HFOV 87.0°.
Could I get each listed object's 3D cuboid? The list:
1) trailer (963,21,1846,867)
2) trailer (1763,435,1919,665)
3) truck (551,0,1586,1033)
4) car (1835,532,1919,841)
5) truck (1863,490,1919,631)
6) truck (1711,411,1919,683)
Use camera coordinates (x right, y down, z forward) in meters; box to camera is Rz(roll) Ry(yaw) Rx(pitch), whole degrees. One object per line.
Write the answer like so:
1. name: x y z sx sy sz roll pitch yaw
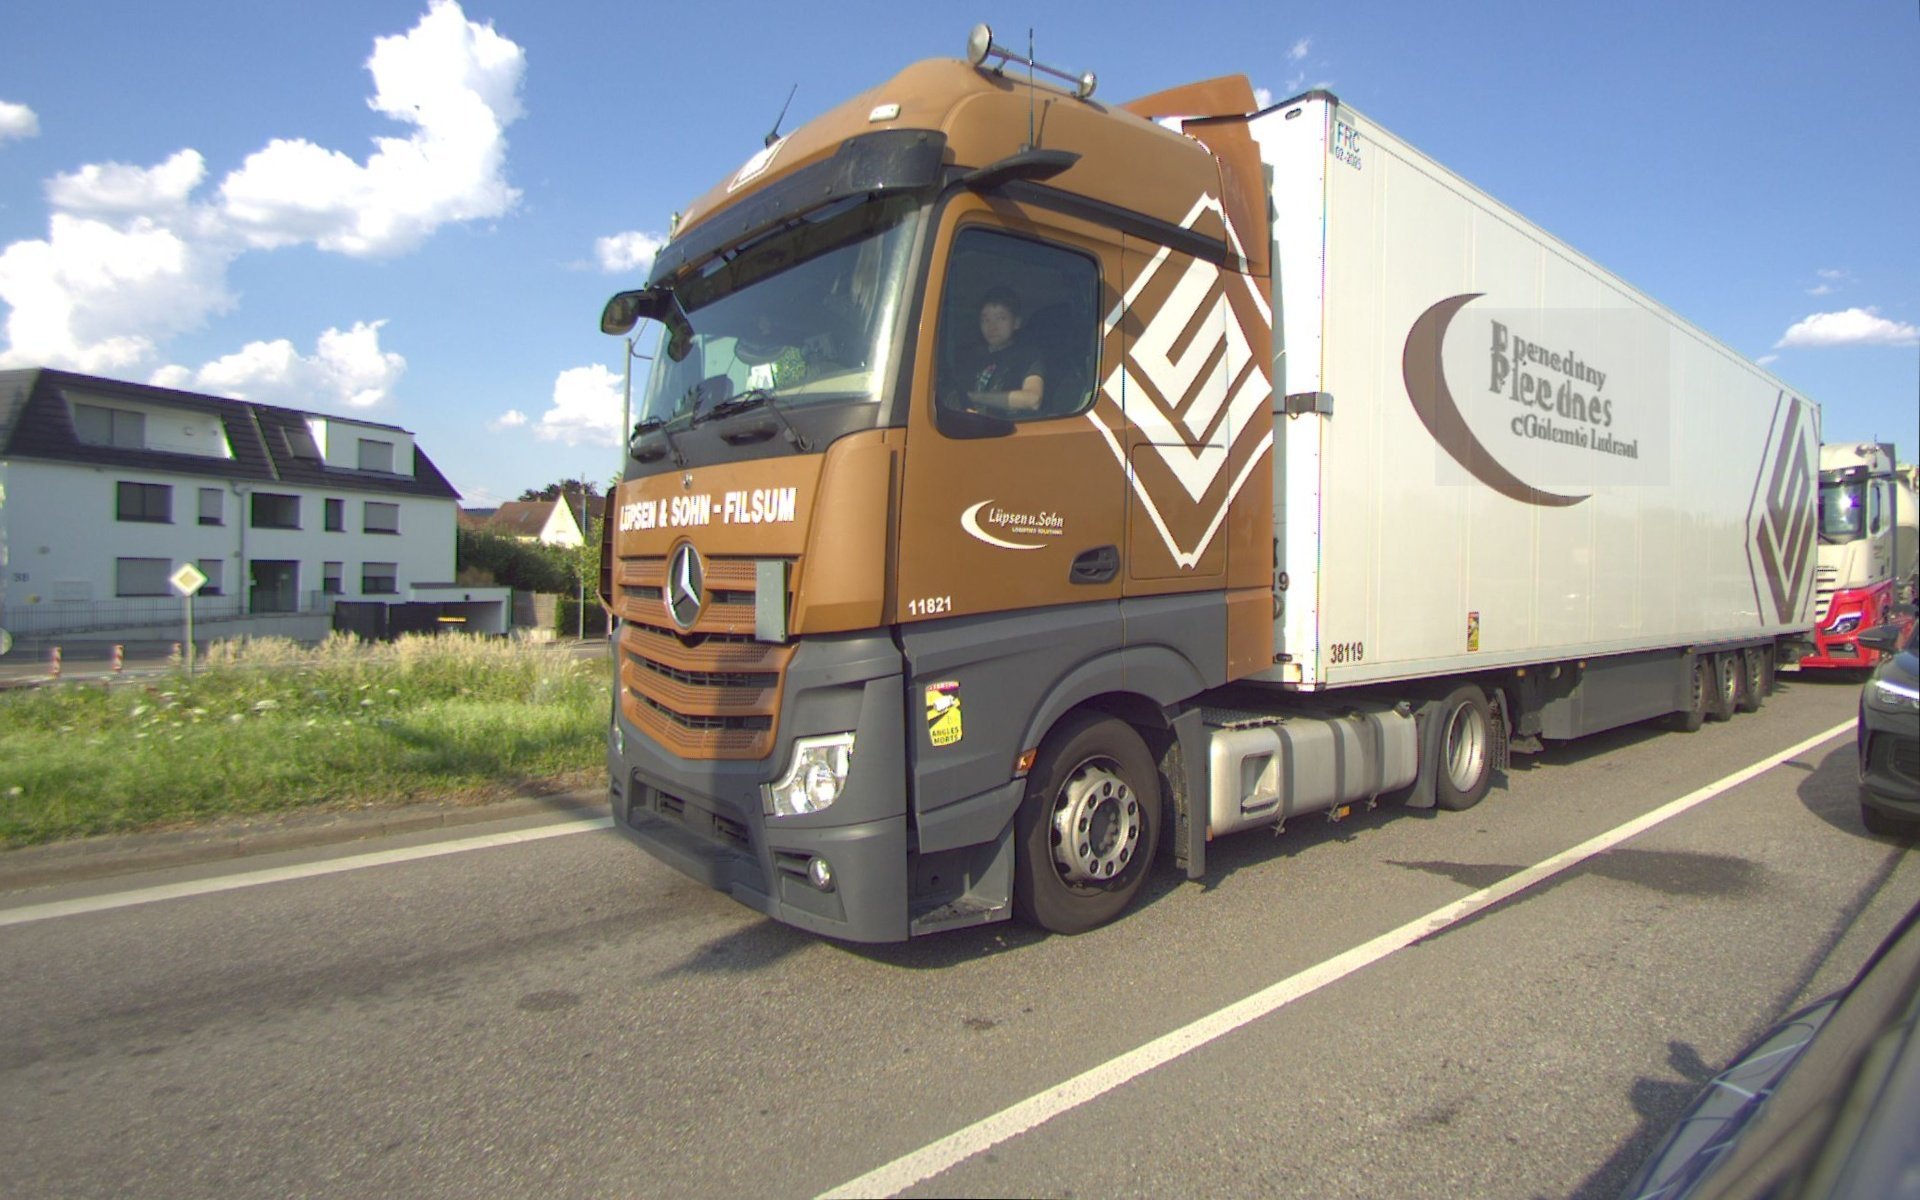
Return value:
1. trailer: 6.181 -0.843 10.489 14.084 4.118 2.536 -1 0 -41
2. trailer: 18.952 -0.903 20.668 9.359 3.825 2.262 -1 0 -41
3. truck: 1.253 -0.754 6.269 6.544 4.094 2.537 -1 1 -40
4. car: 7.184 0.423 6.323 4.387 1.649 1.788 -1 1 -38
5. truck: 30.932 -1.197 31.457 12.672 3.821 2.527 -1 1 -40
6. truck: 14.788 -0.810 17.050 5.587 3.853 2.259 -1 1 -41
